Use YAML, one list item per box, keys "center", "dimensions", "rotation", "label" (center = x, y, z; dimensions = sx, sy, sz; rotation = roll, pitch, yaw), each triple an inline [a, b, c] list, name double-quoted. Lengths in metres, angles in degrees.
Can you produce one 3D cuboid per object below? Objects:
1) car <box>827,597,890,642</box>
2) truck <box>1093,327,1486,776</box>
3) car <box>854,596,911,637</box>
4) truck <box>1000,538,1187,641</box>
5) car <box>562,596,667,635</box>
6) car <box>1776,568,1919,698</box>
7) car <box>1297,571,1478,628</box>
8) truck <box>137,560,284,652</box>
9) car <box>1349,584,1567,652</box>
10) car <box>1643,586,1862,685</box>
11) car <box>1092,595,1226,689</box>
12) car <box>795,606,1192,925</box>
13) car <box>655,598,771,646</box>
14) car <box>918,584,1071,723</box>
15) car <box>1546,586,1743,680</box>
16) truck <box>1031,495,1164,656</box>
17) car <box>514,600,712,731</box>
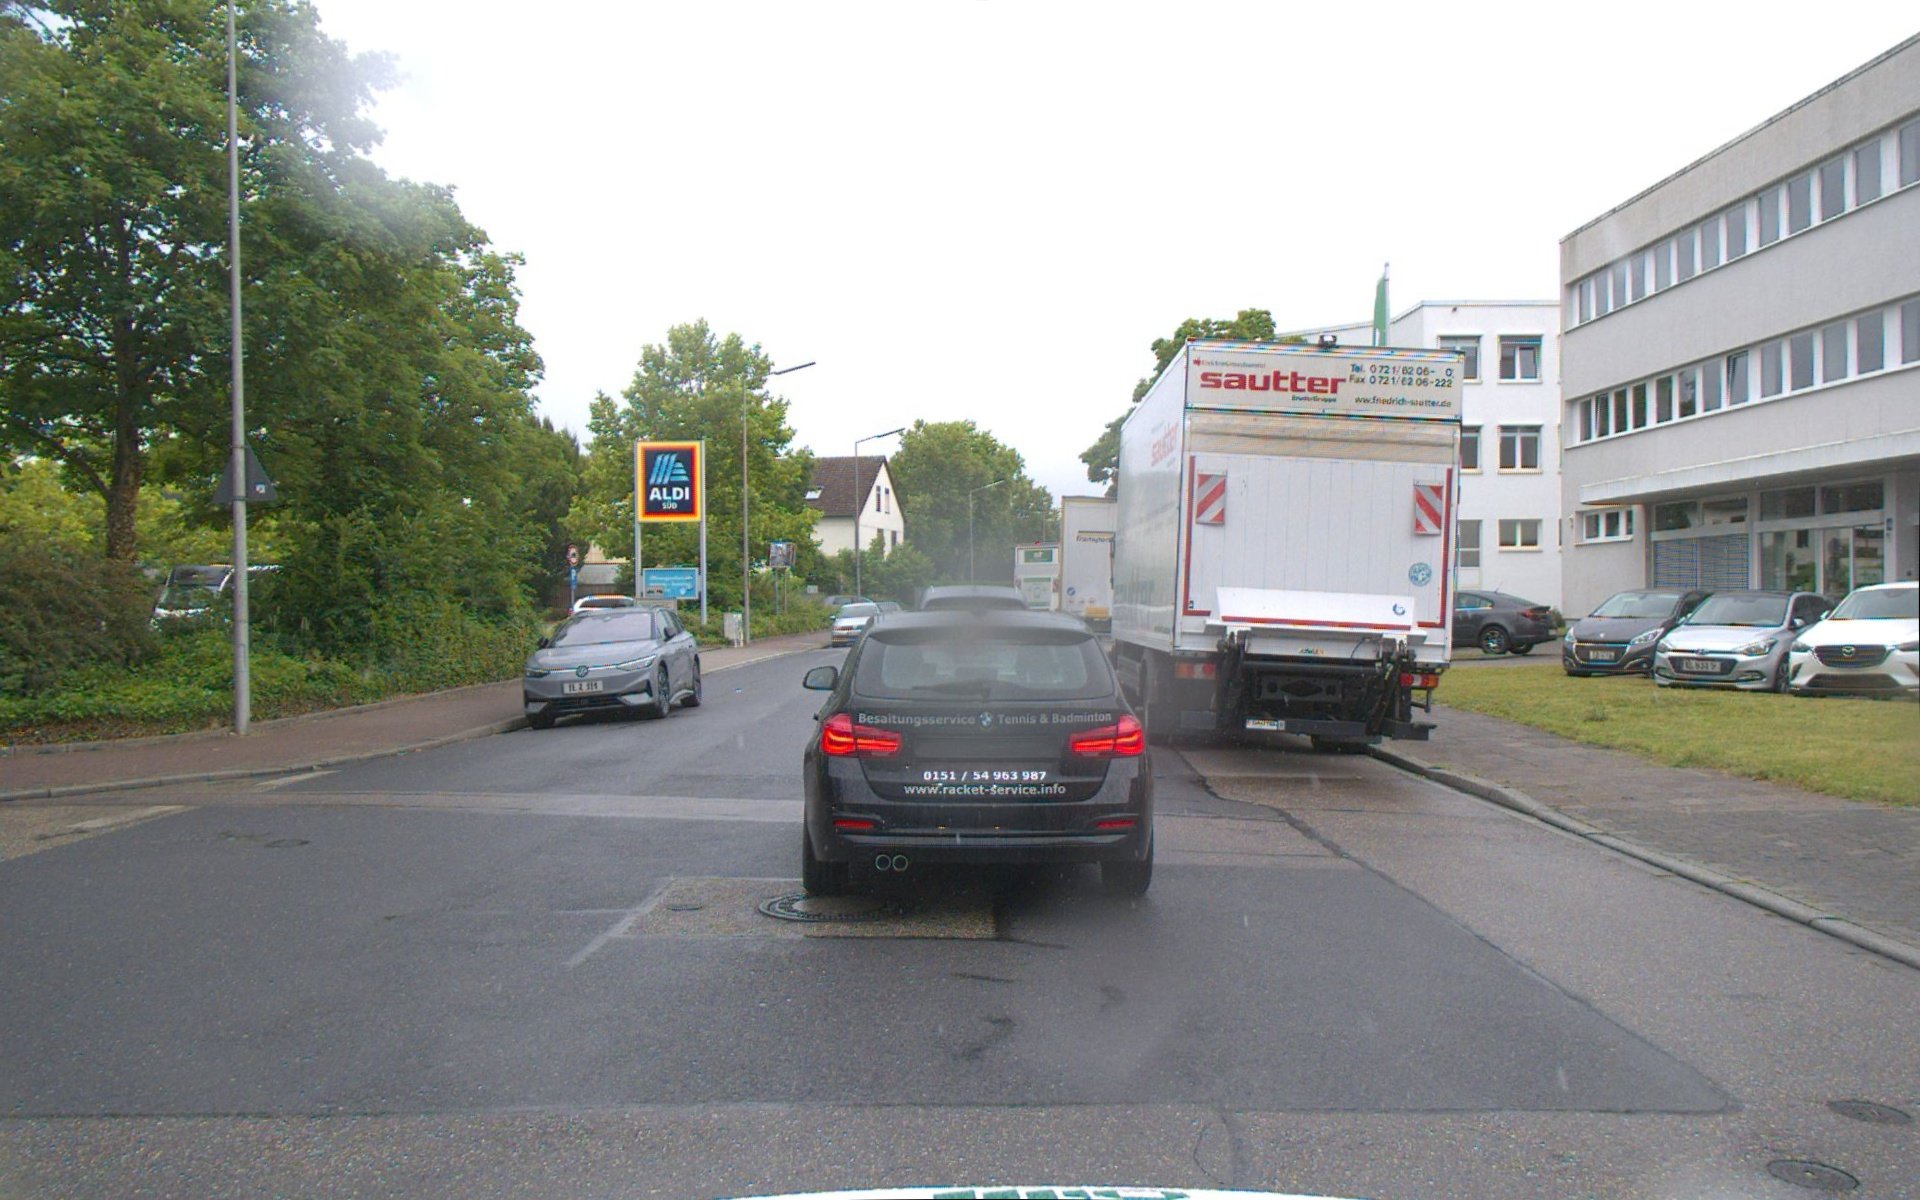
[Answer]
- center: [-3.446, 0.642, 56.814]
  dimensions: [1.670, 1.391, 4.602]
  rotation: [-3, 0, 2]
  label: "car"
- center: [3.282, -0.441, 19.229]
  dimensions: [2.685, 3.855, 9.299]
  rotation: [2, 0, 1]
  label: "truck"
- center: [-2.920, 0.603, 62.931]
  dimensions: [1.670, 1.391, 3.840]
  rotation: [-3, 0, 4]
  label: "car"
- center: [4.797, -0.391, 57.889]
  dimensions: [2.307, 3.313, 7.705]
  rotation: [4, 3, 41]
  label: "truck"
- center: [-14.295, 0.626, 68.483]
  dimensions: [3.904, 1.567, 1.911]
  rotation: [0, 0, 1]
  label: "car"
- center: [11.922, 0.360, 20.856]
  dimensions: [3.971, 1.496, 1.746]
  rotation: [-1, 0, -45]
  label: "car"
- center: [16.053, -0.007, 62.242]
  dimensions: [6.326, 2.049, 1.998]
  rotation: [0, -1, -4]
  label: "car"
- center: [-24.480, 0.192, 54.326]
  dimensions: [1.953, 2.801, 6.466]
  rotation: [-1, 0, -1]
  label: "truck"
- center: [11.627, 0.407, 38.794]
  dimensions: [4.586, 1.493, 1.783]
  rotation: [-1, 0, 38]
  label: "car"
- center: [11.610, 0.470, 24.122]
  dimensions: [3.971, 1.309, 1.678]
  rotation: [-1, 0, -45]
  label: "car"
- center: [3.336, 0.657, 28.434]
  dimensions: [1.760, 1.466, 4.344]
  rotation: [-1, 0, 0]
  label: "car"
- center: [0.100, 0.749, 9.387]
  dimensions: [1.768, 1.419, 3.998]
  rotation: [0, 0, -2]
  label: "car"
- center: [-8.137, 0.719, 54.628]
  dimensions: [3.495, 1.485, 1.713]
  rotation: [1, 0, 2]
  label: "car"
- center: [0.354, 0.632, 21.196]
  dimensions: [1.768, 1.614, 3.998]
  rotation: [0, 0, -2]
  label: "car"
- center: [11.240, 0.492, 27.062]
  dimensions: [3.740, 1.417, 1.678]
  rotation: [-1, 0, -45]
  label: "car"
- center: [3.392, -0.584, 42.705]
  dimensions: [2.685, 3.674, 7.749]
  rotation: [2, 0, 0]
  label: "truck"
- center: [-4.836, 0.847, 23.737]
  dimensions: [1.772, 1.555, 4.747]
  rotation: [-4, 0, -1]
  label: "car"
